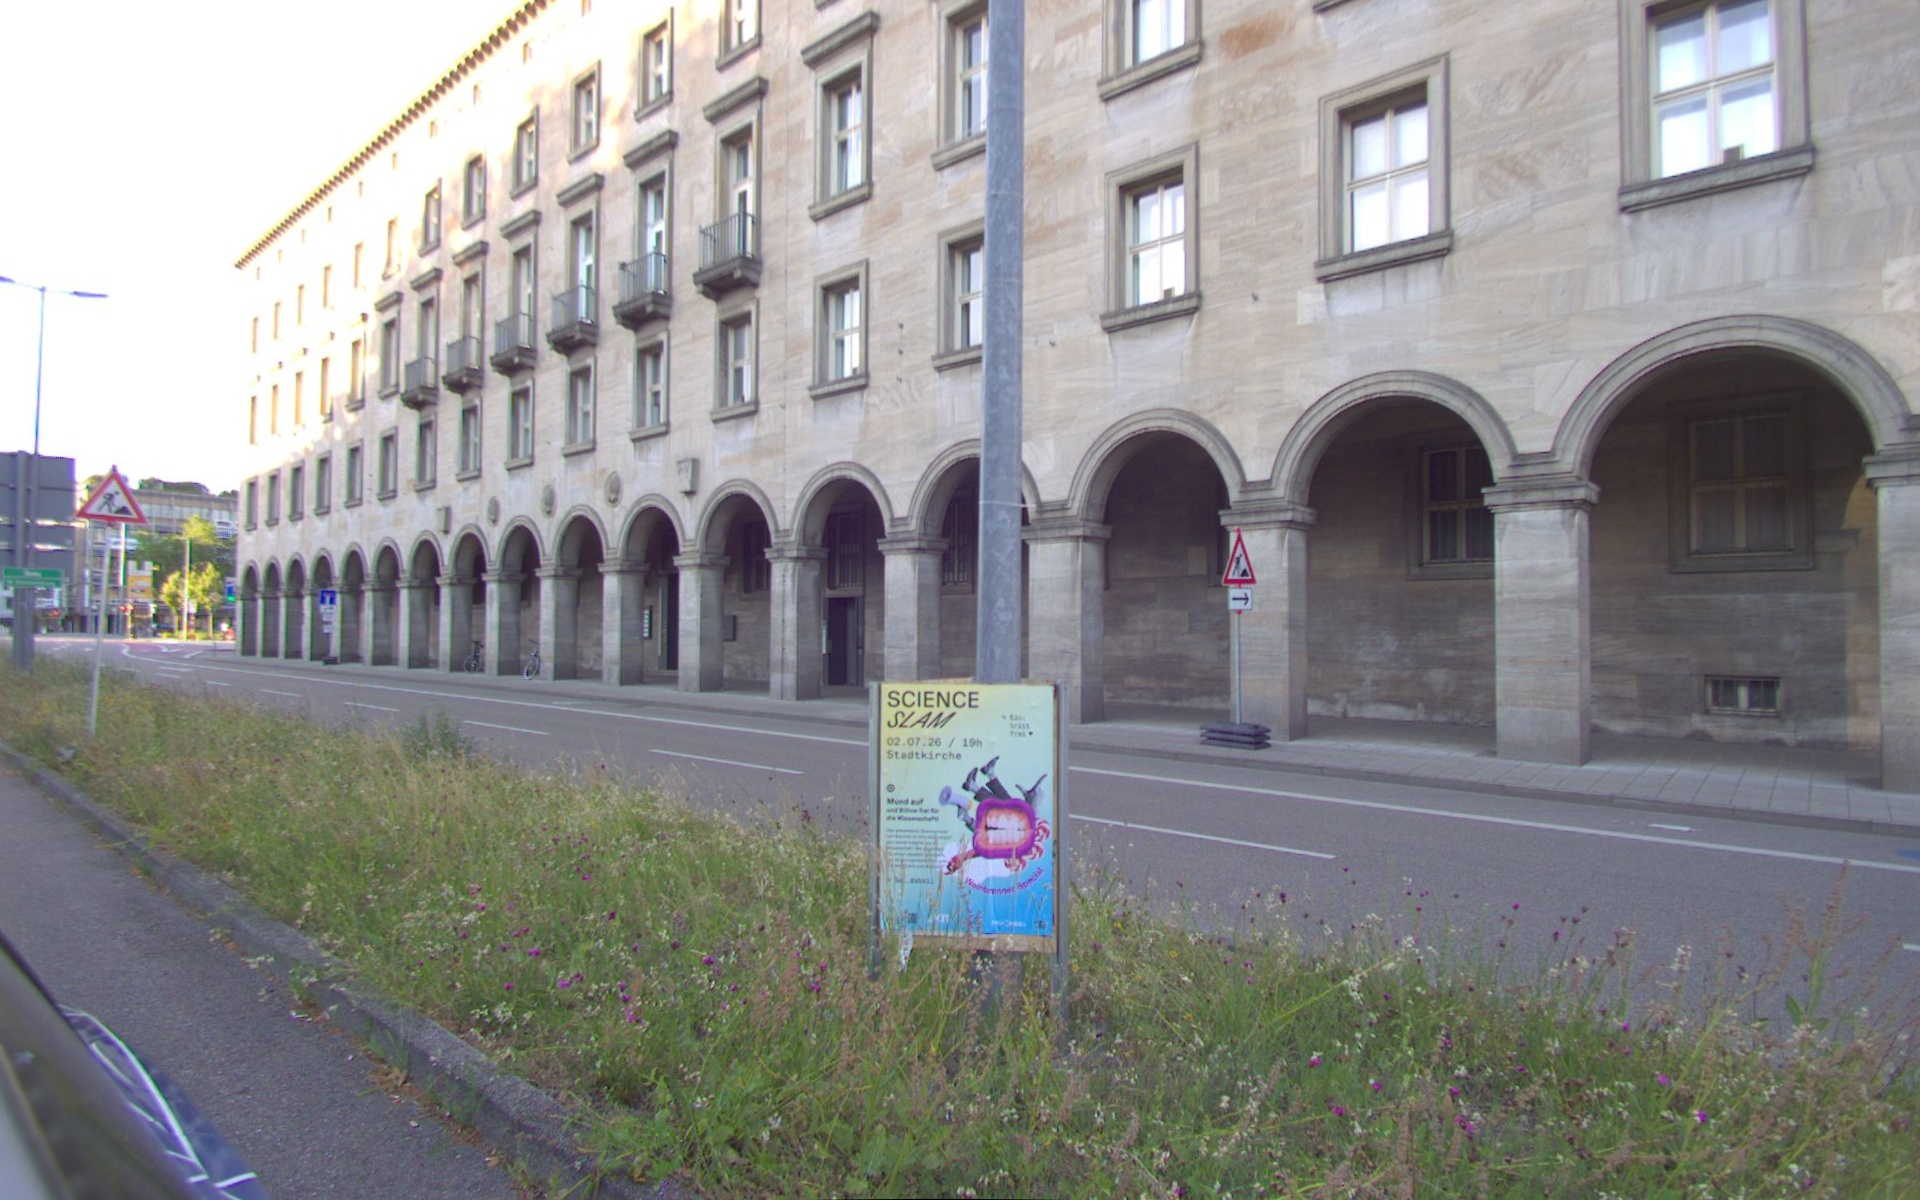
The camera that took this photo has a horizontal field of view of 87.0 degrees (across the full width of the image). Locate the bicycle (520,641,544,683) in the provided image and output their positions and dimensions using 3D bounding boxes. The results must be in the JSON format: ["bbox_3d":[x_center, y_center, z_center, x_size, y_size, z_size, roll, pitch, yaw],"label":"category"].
[{"bbox_3d":[-12.721,1.826,30.146,0.505,1.130,2.431,1,-1,-20],"label":"bicycle"}]

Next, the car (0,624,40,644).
[{"bbox_3d":[-96.800,3.471,103.310,1.997,2.029,3.950,-1,-3,37],"label":"car"}]

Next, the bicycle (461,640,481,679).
[{"bbox_3d":[-15.528,1.865,32.139,0.505,1.188,2.431,1,-2,-25],"label":"bicycle"}]
